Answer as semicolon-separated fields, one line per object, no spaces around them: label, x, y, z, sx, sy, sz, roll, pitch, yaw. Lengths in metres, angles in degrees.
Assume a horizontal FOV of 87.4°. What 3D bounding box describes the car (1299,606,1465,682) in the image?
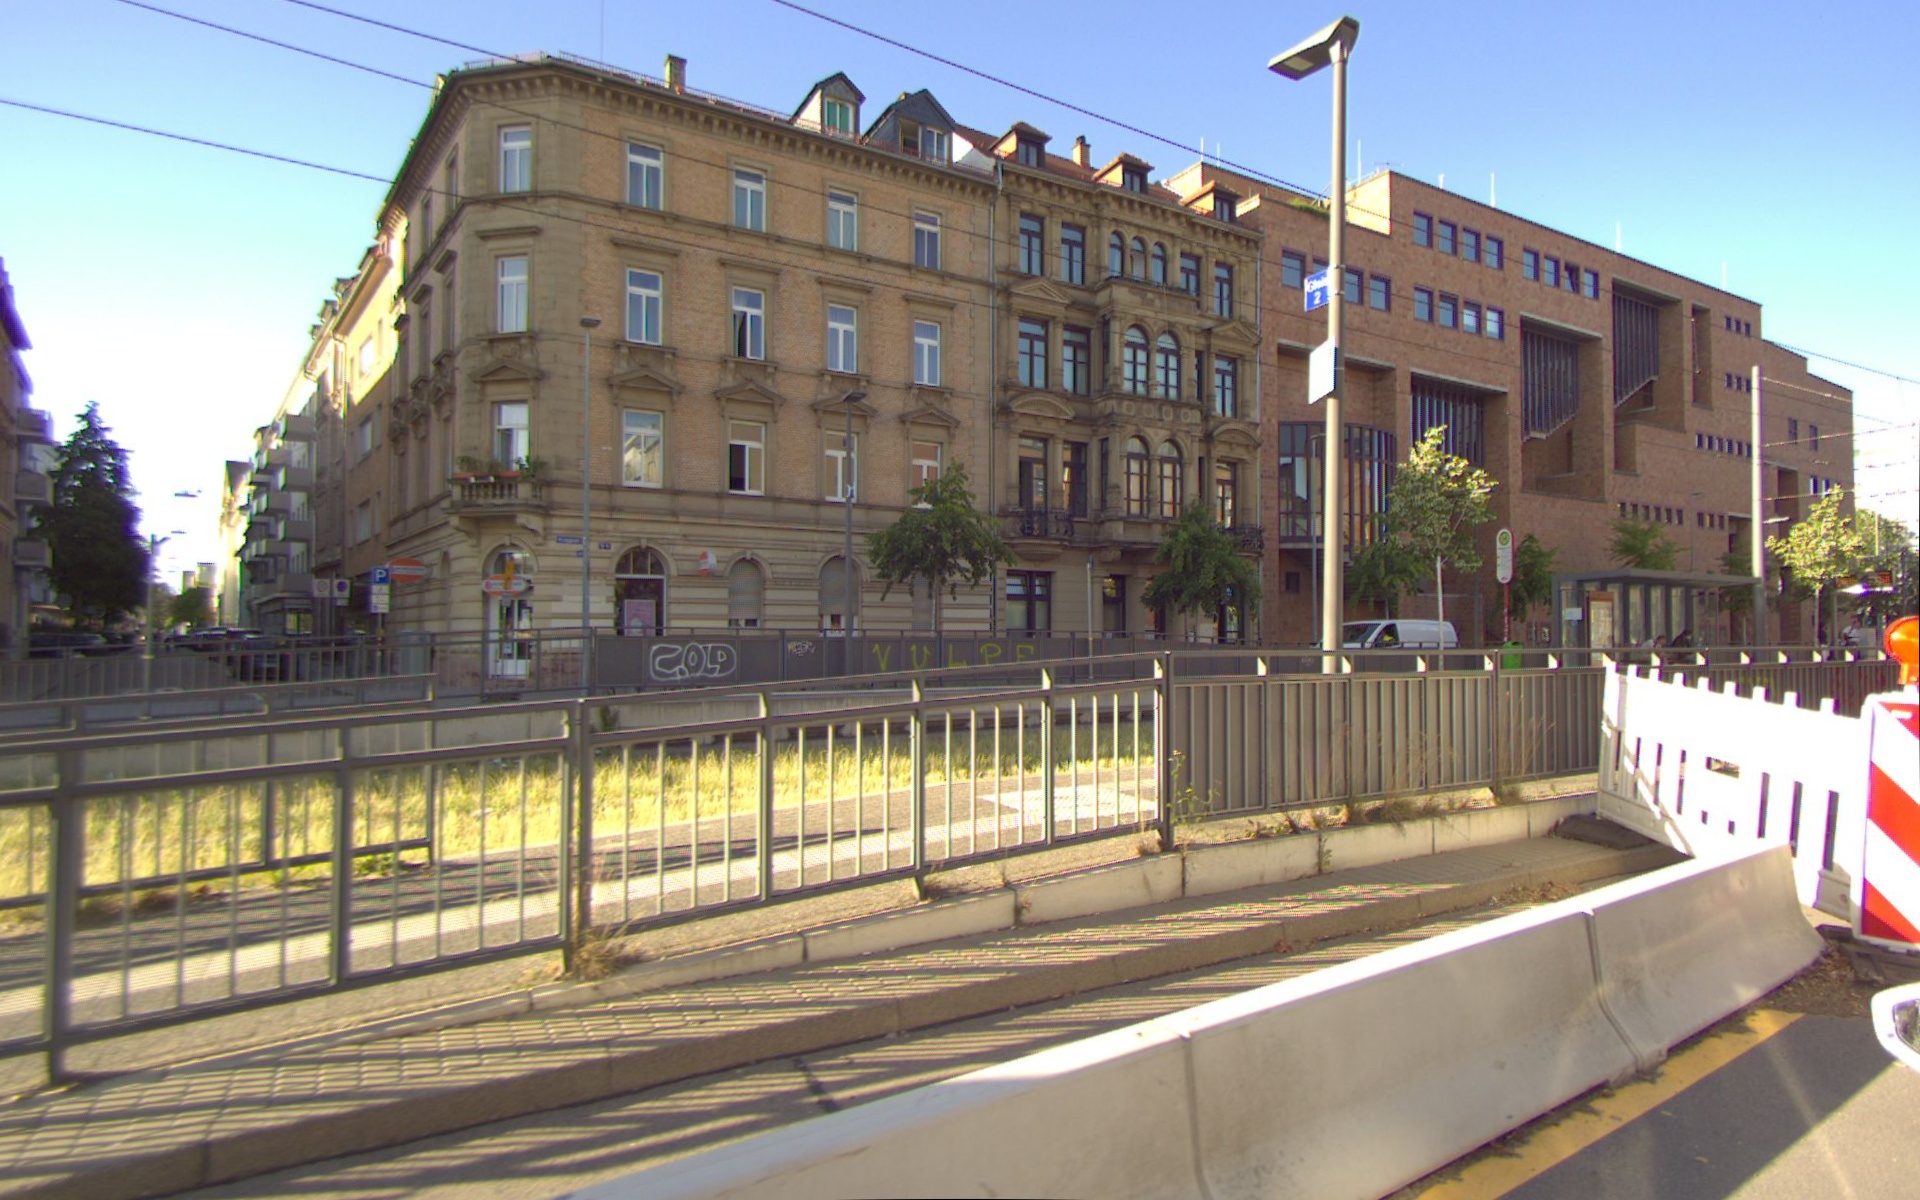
car;11.596;1.215;27.510;4.535;1.905;1.982;3;-1;-33

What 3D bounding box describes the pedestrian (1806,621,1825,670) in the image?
pedestrian;29.762;1.584;34.943;0.411;1.670;0.376;1;0;-29

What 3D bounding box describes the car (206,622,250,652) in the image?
car;-39.652;1.990;54.395;1.723;1.539;3.750;2;-2;-39

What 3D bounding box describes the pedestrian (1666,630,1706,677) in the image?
pedestrian;20.821;1.526;28.819;0.713;1.326;0.643;1;-4;-30

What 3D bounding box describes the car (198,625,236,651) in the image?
car;-46.098;2.340;62.292;1.723;1.539;3.750;2;-2;-39

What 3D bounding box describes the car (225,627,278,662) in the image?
car;-32.897;2.056;46.592;1.723;1.539;3.750;2;-2;-39

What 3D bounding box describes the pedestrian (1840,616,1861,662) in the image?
pedestrian;32.079;1.404;36.186;0.546;1.643;0.376;1;0;-30

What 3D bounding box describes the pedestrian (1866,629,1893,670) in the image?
pedestrian;34.427;1.844;37.606;0.634;1.479;0.537;1;0;-29

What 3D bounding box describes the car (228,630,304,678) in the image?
car;-23.762;1.812;34.333;1.811;1.539;3.955;2;-2;-39

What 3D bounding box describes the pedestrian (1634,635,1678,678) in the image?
pedestrian;19.165;1.557;27.649;0.713;1.183;0.718;1;-4;-30
